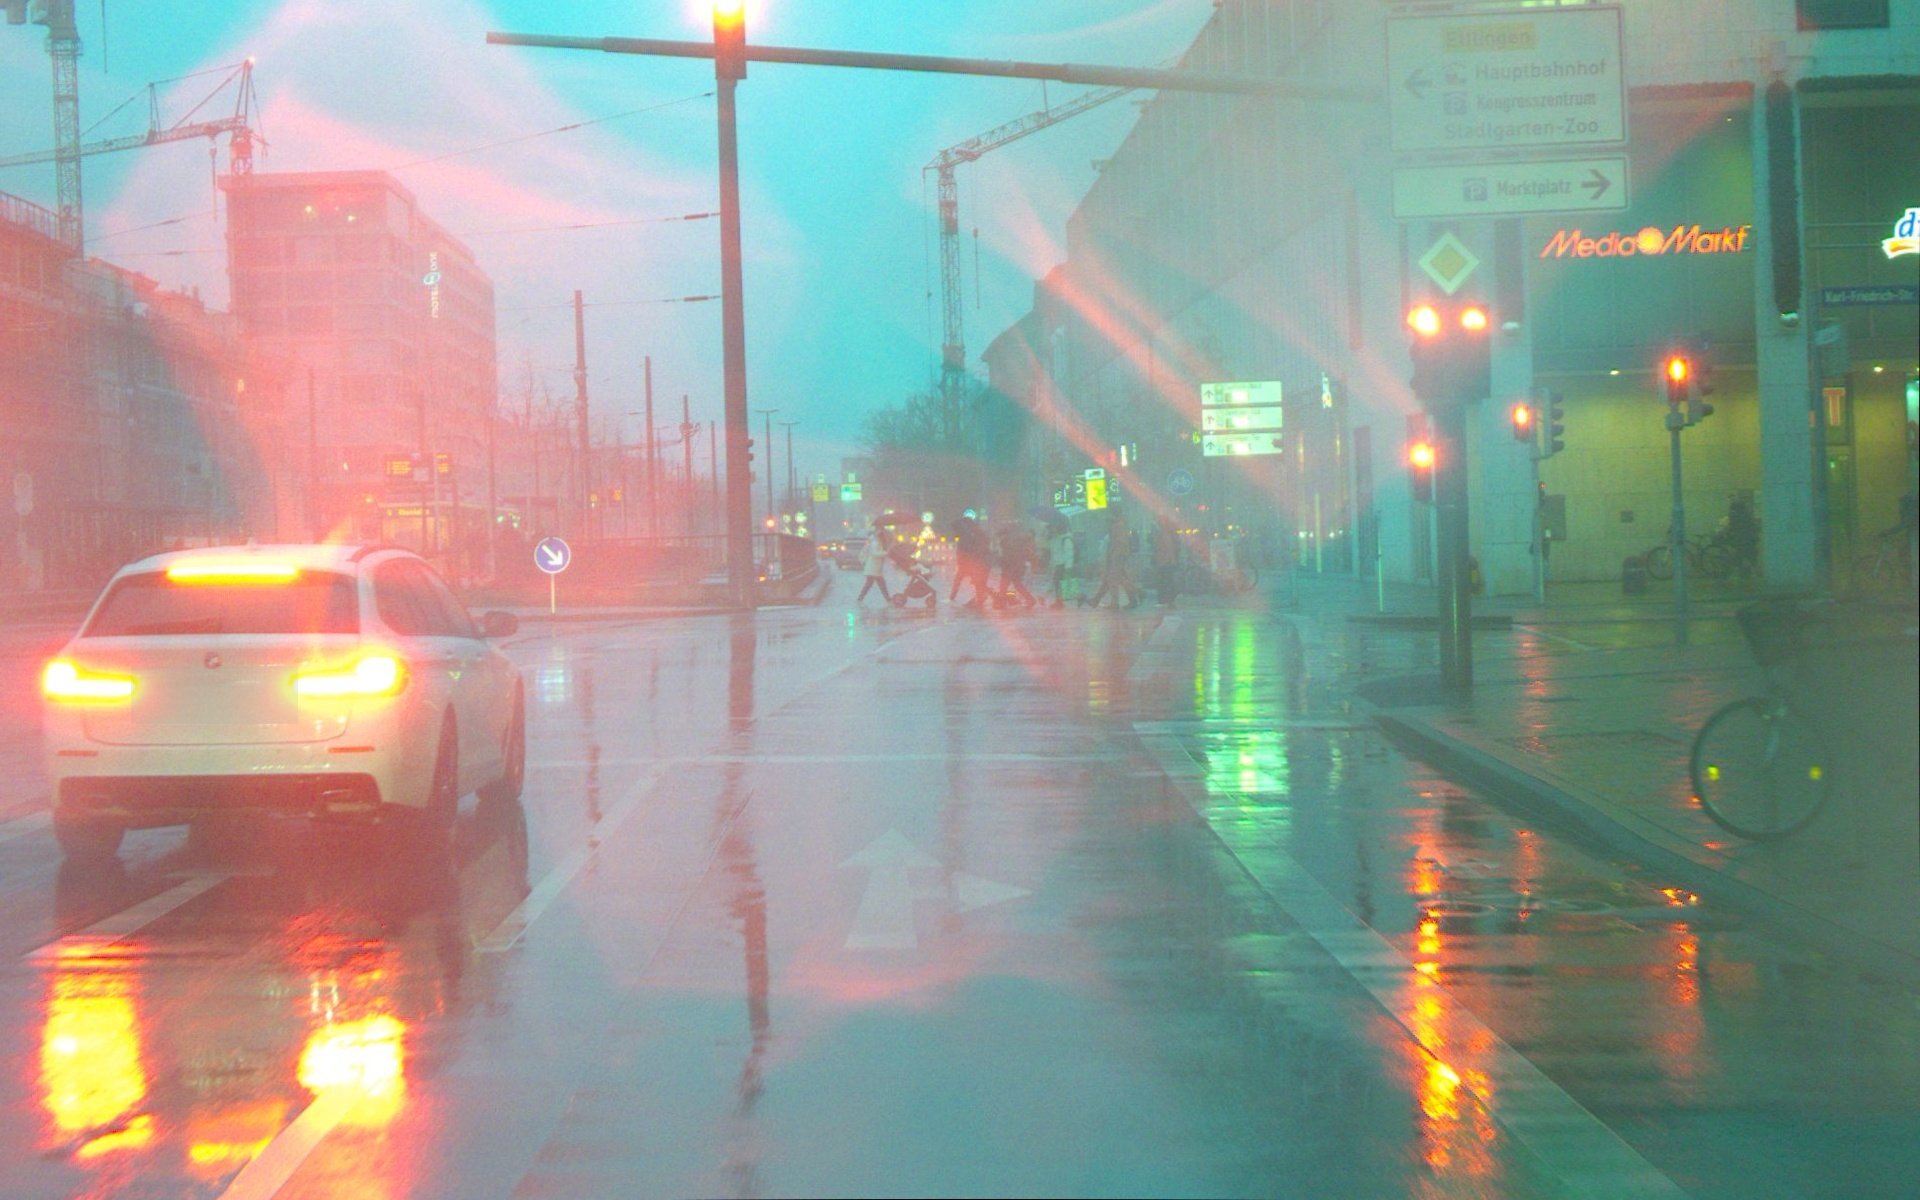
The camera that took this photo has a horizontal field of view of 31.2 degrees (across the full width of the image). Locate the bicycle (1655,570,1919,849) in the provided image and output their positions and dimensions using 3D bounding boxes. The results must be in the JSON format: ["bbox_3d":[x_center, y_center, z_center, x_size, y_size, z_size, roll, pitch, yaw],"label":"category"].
[{"bbox_3d":[4.067,0.460,15.389,1.750,1.144,0.436,-4,1,-3],"label":"bicycle"}]

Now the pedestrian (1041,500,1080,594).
[{"bbox_3d":[1.896,-0.998,64.918,0.619,1.740,0.613,-2,1,-4],"label":"pedestrian"}]

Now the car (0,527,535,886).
[{"bbox_3d":[-3.440,0.421,17.542,1.909,1.515,4.924,-2,1,0],"label":"car"}]

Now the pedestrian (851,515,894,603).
[{"bbox_3d":[-1.684,-0.783,66.104,0.741,1.661,0.400,-2,1,1],"label":"pedestrian"}]

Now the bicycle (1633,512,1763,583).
[{"bbox_3d":[14.677,-1.053,68.417,2.425,1.324,0.635,-2,1,-3],"label":"bicycle"}]

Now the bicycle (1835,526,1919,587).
[{"bbox_3d":[15.492,-0.720,56.404,2.128,0.988,0.541,-1,0,1],"label":"bicycle"}]

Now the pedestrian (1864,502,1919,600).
[{"bbox_3d":[15.329,-0.808,56.404,0.814,1.564,0.536,-2,1,1],"label":"pedestrian"}]

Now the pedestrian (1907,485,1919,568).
[{"bbox_3d":[19.967,-1.523,71.054,0.536,1.712,0.501,-1,1,39],"label":"pedestrian"}]

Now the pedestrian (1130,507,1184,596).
[{"bbox_3d":[3.753,-0.928,65.630,0.830,1.673,0.619,-2,1,-13],"label":"pedestrian"}]

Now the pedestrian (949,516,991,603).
[{"bbox_3d":[0.195,-0.761,64.729,0.706,1.613,0.680,-2,1,2],"label":"pedestrian"}]

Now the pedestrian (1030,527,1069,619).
[{"bbox_3d":[1.743,-0.527,66.964,0.702,1.754,0.667,-2,1,1],"label":"pedestrian"}]

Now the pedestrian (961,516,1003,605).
[{"bbox_3d":[0.406,-0.726,63.249,0.706,1.613,0.613,-2,1,-1],"label":"pedestrian"}]

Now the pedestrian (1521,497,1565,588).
[{"bbox_3d":[11.453,-1.140,67.516,0.703,1.754,0.652,-2,1,1],"label":"pedestrian"}]

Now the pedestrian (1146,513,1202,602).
[{"bbox_3d":[4.125,-0.825,66.345,0.842,1.682,0.677,-2,1,-16],"label":"pedestrian"}]

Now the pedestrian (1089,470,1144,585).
[{"bbox_3d":[2.864,-1.330,62.930,0.686,2.080,0.613,-3,1,-39],"label":"pedestrian"}]

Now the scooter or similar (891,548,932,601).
[{"bbox_3d":[-0.926,-0.484,66.096,0.741,0.990,0.400,-2,1,1],"label":"scooter or similar"}]
